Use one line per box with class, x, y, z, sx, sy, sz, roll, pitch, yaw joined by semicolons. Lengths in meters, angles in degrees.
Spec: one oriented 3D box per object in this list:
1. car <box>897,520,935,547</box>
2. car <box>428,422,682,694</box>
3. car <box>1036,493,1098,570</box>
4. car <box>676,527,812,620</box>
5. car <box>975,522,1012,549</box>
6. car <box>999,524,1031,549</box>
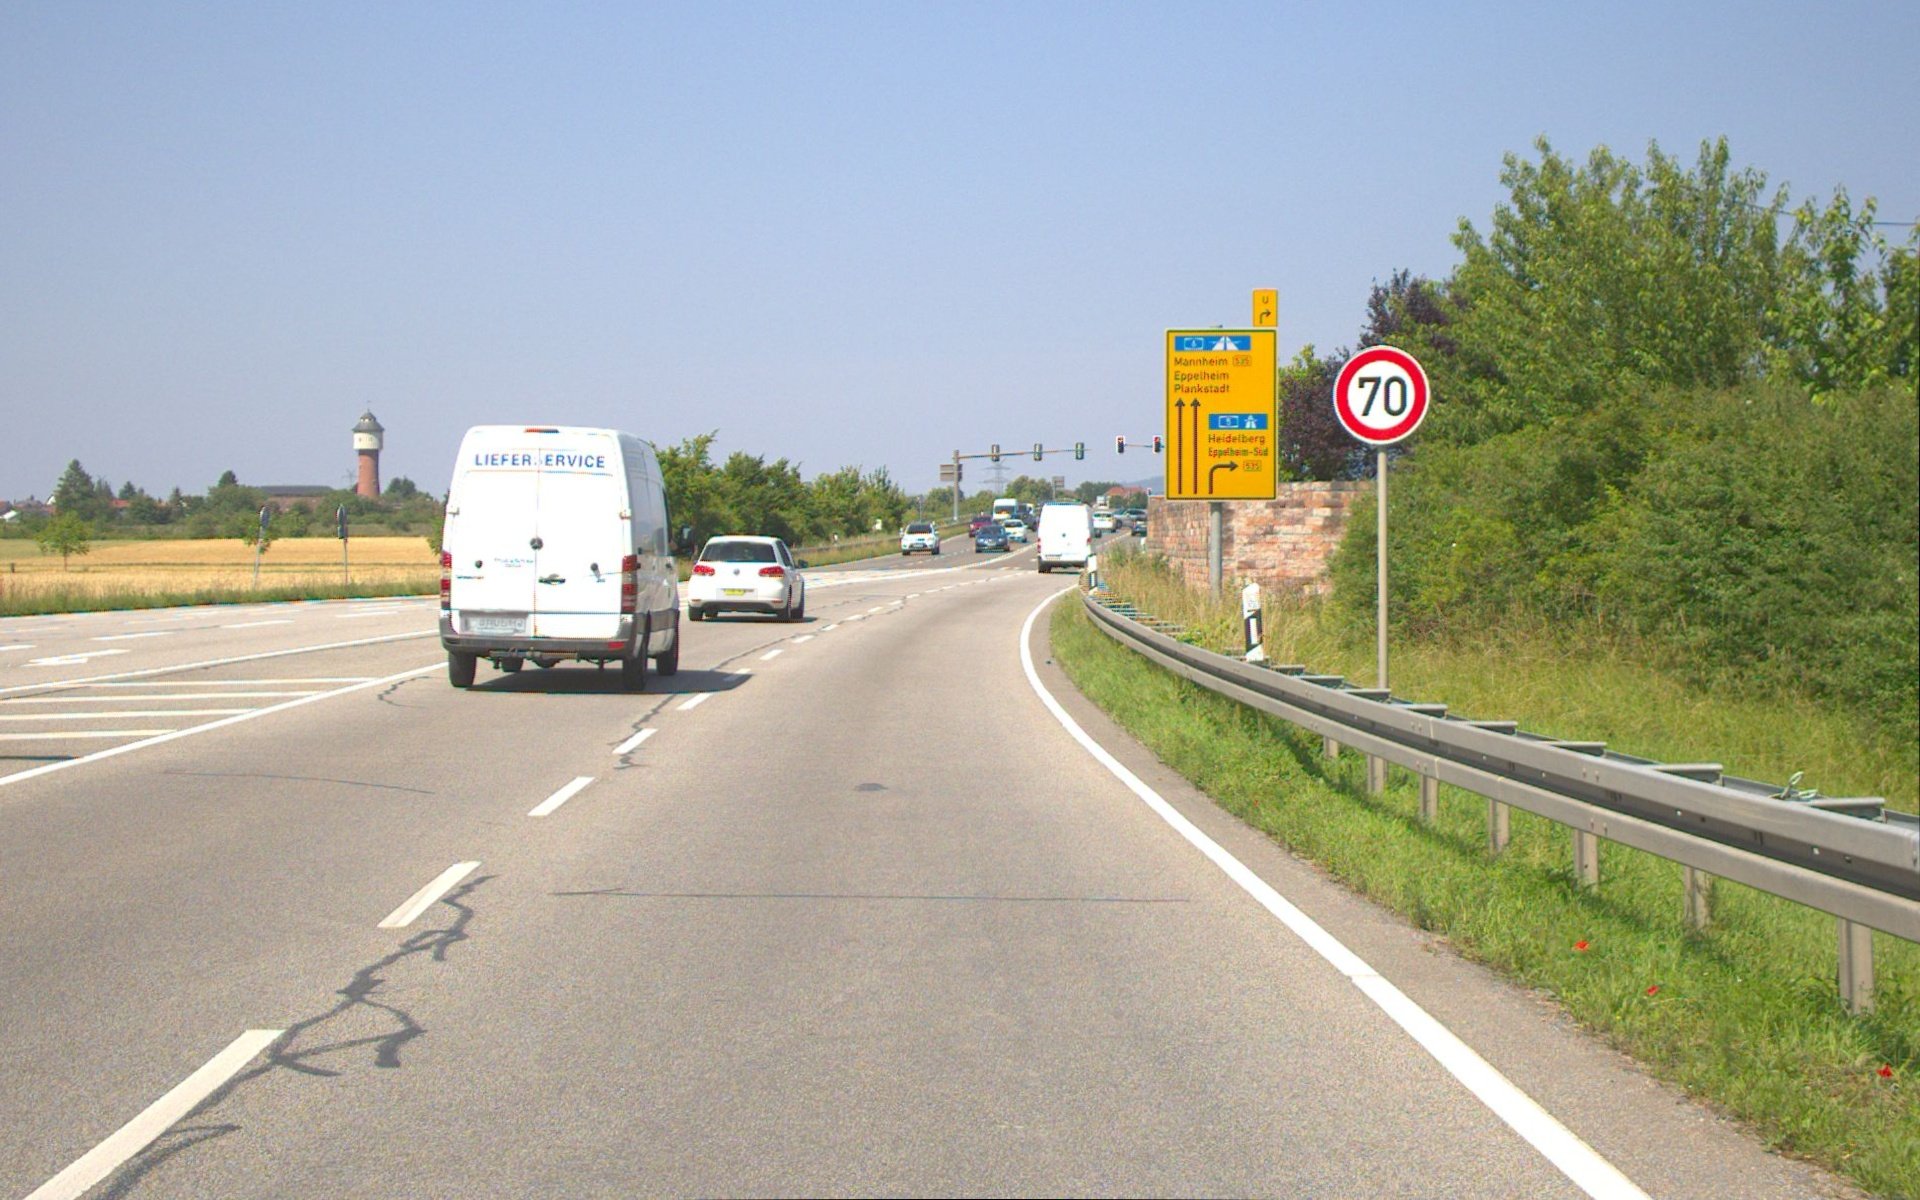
car;-2.348;-3.571;184.387;1.749;1.437;4.081;0;1;4
car;-4.151;-0.456;36.165;2.039;2.611;5.741;1;1;-1
car;3.973;-2.502;126.853;1.994;2.686;4.969;2;0;4
car;-3.741;-0.488;60.125;1.799;1.503;4.196;1;2;4
car;1.848;-3.506;187.523;1.749;1.437;4.081;0;1;4
car;3.556;-4.091;221.486;1.749;1.437;4.081;2;0;4
